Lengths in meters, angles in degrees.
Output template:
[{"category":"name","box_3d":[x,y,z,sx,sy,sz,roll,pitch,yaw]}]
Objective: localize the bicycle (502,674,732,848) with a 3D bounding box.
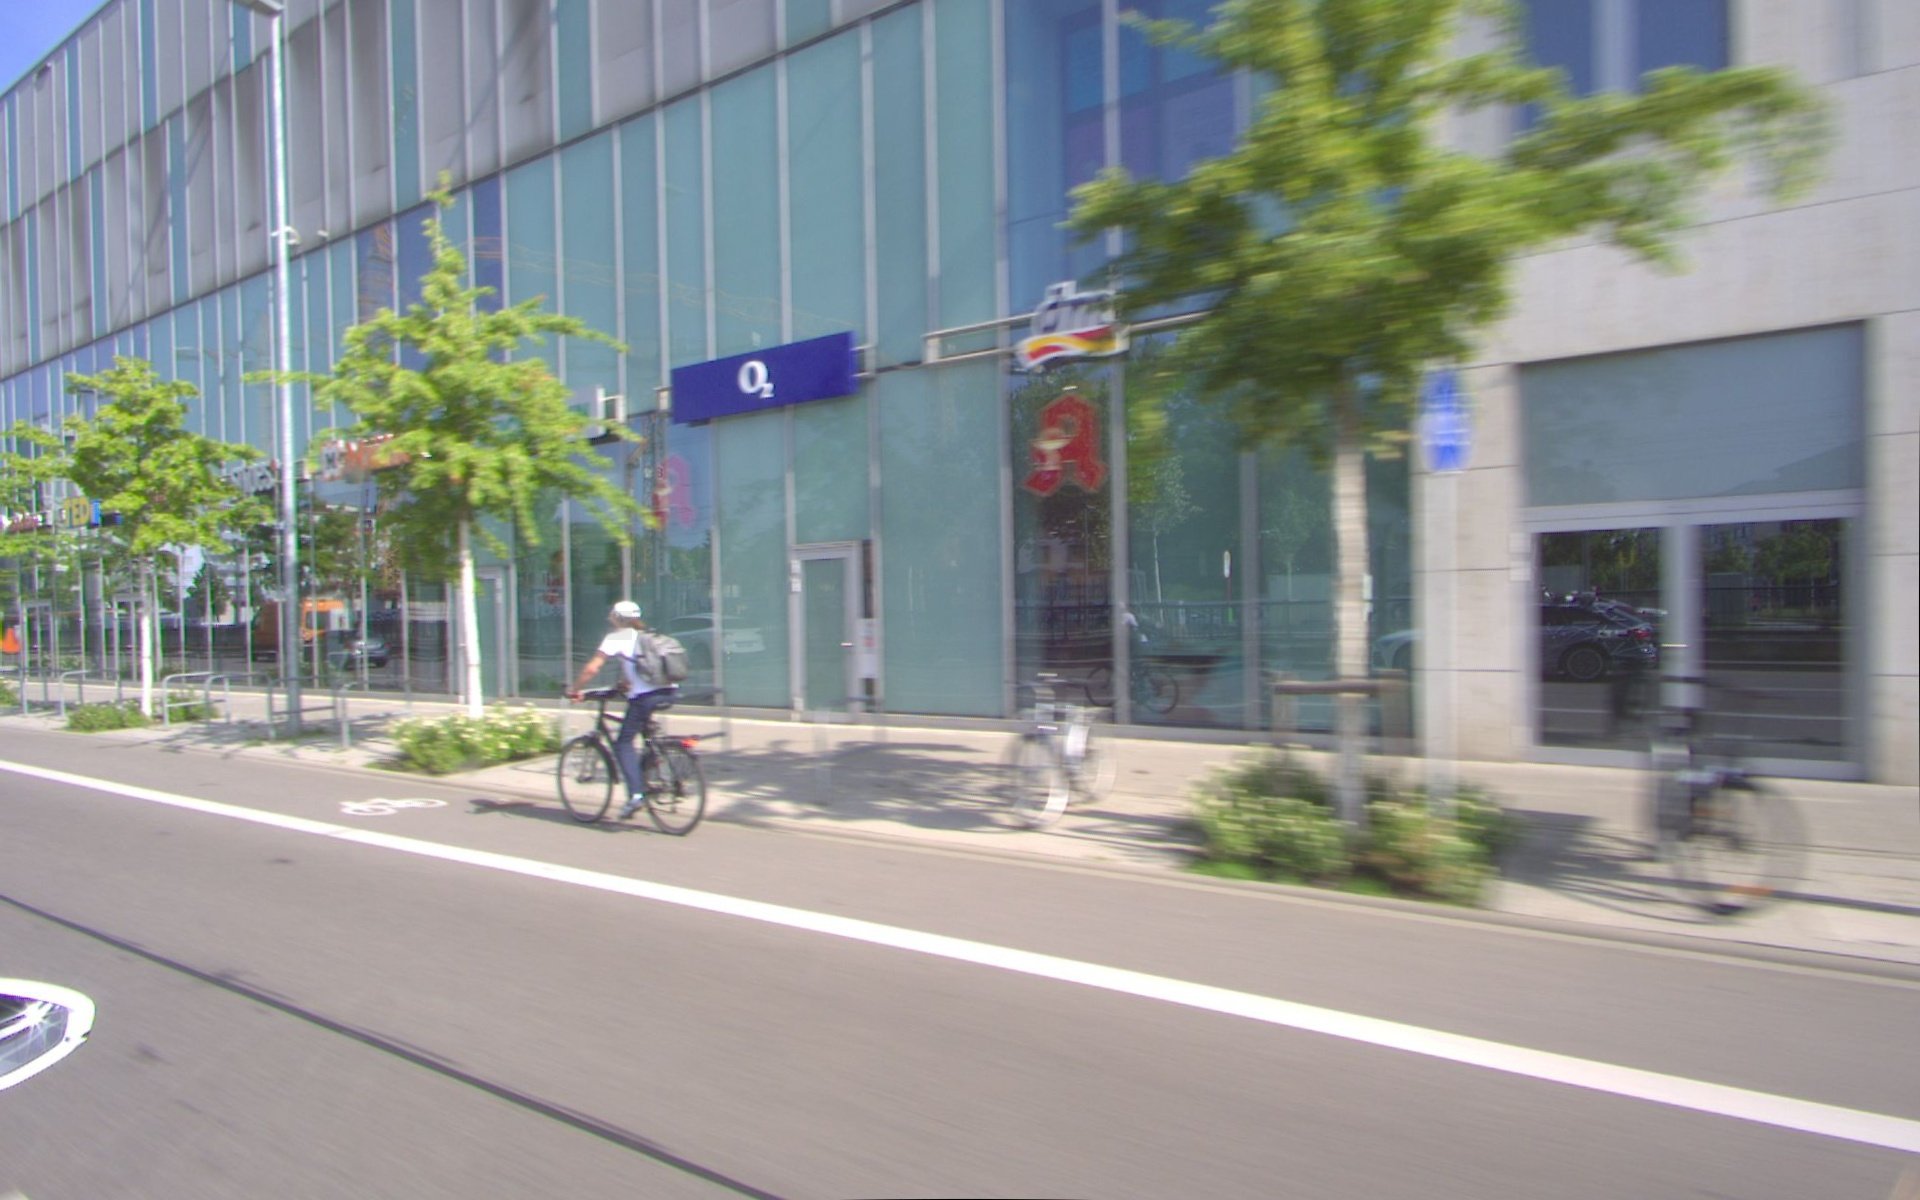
[{"category":"bicycle","box_3d":[-2.747,1.201,7.918,2.023,1.132,0.659,-1,0,35]}]

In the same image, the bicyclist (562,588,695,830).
[{"category":"bicyclist","box_3d":[-2.585,0.803,7.815,0.759,1.772,0.649,0,0,35]}]

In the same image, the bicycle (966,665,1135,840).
[{"category":"bicycle","box_3d":[0.769,1.131,7.930,0.483,1.124,1.873,-1,0,34]}]

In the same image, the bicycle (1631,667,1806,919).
[{"category":"bicycle","box_3d":[4.216,0.973,5.676,0.677,1.127,1.835,-1,-2,34]}]
